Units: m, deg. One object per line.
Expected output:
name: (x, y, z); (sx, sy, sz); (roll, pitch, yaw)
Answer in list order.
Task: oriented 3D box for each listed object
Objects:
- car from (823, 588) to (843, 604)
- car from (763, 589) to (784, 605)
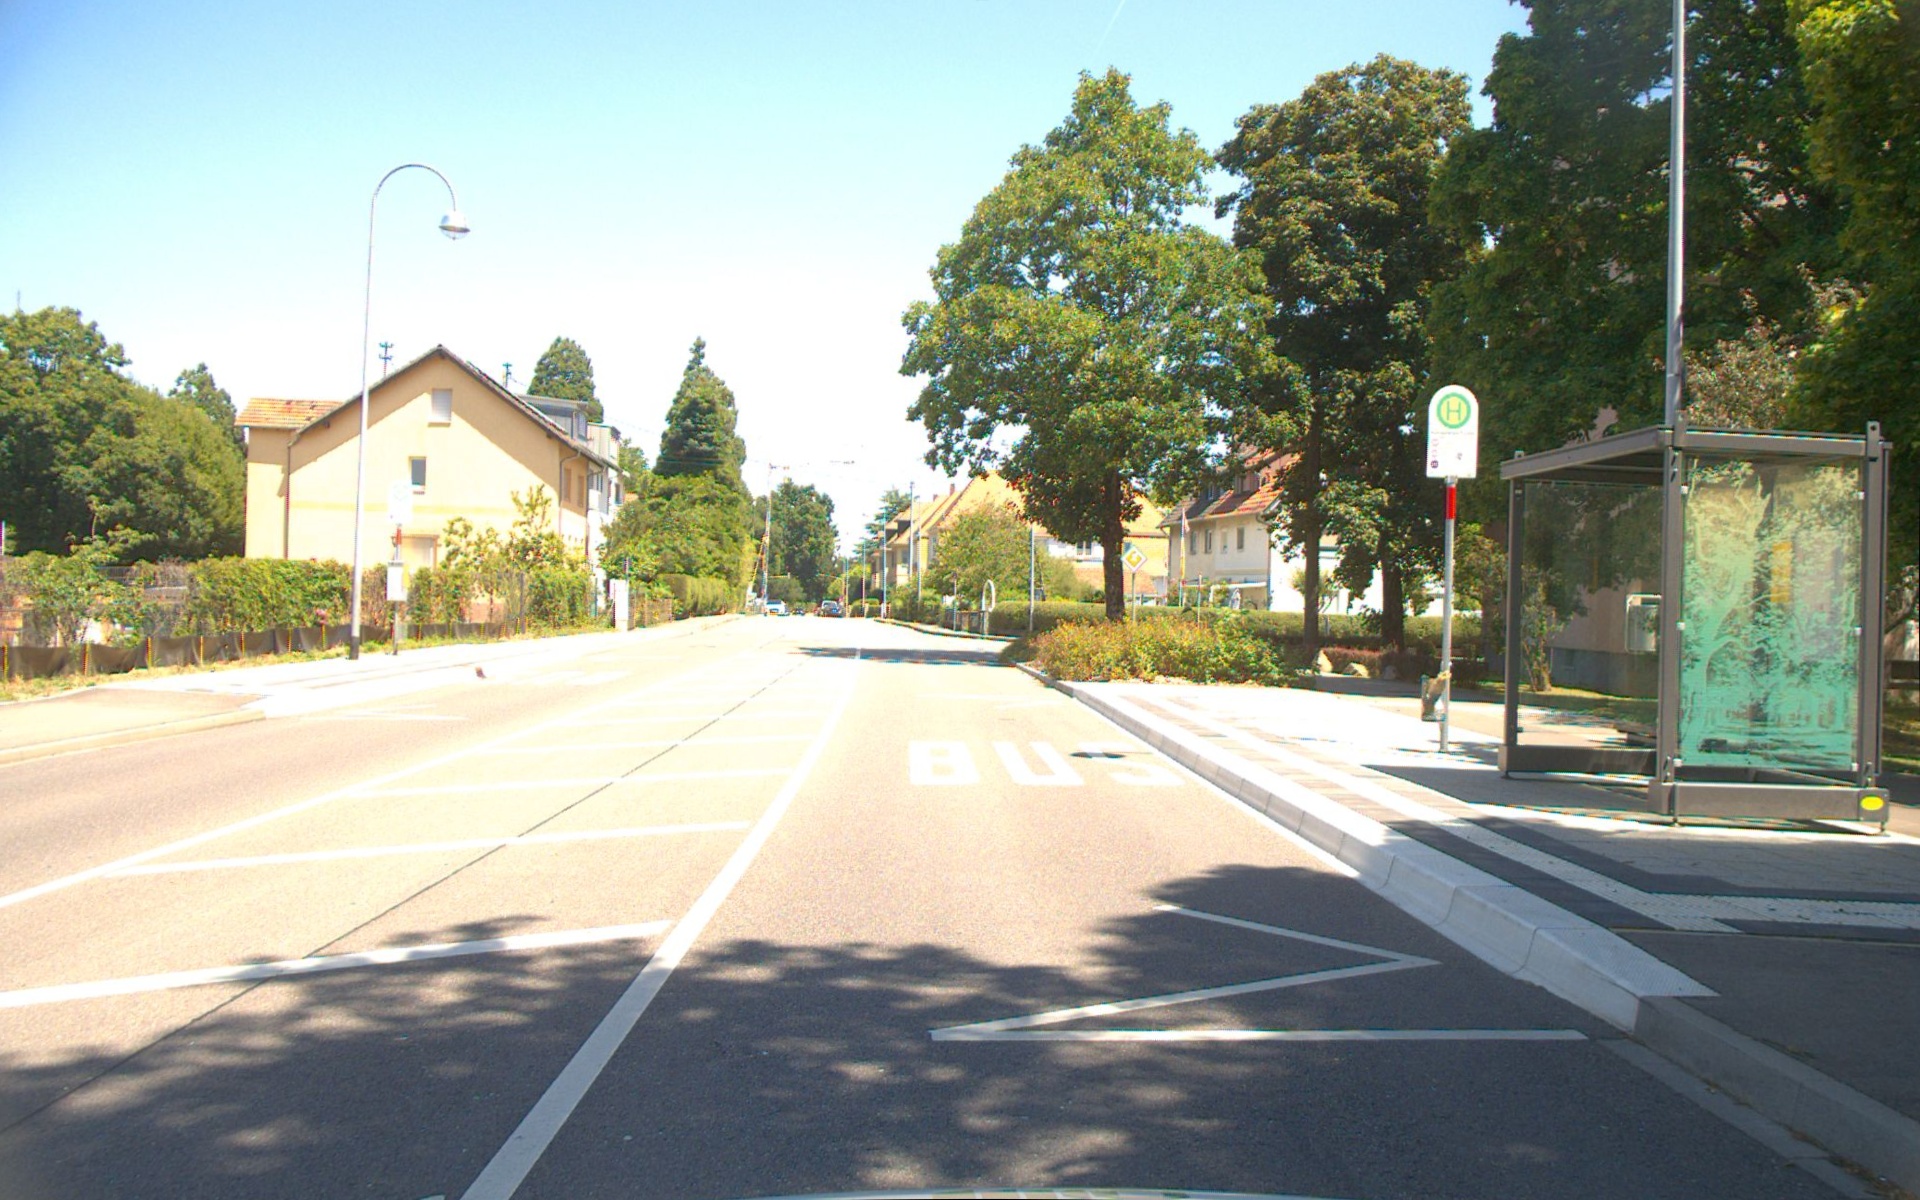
car: (-12.497, -0.370, 162.624); (1.660, 1.444, 4.543); (2, -1, -7)
car: (-16.045, -0.284, 142.290); (1.647, 1.396, 4.202); (0, 0, -5)
